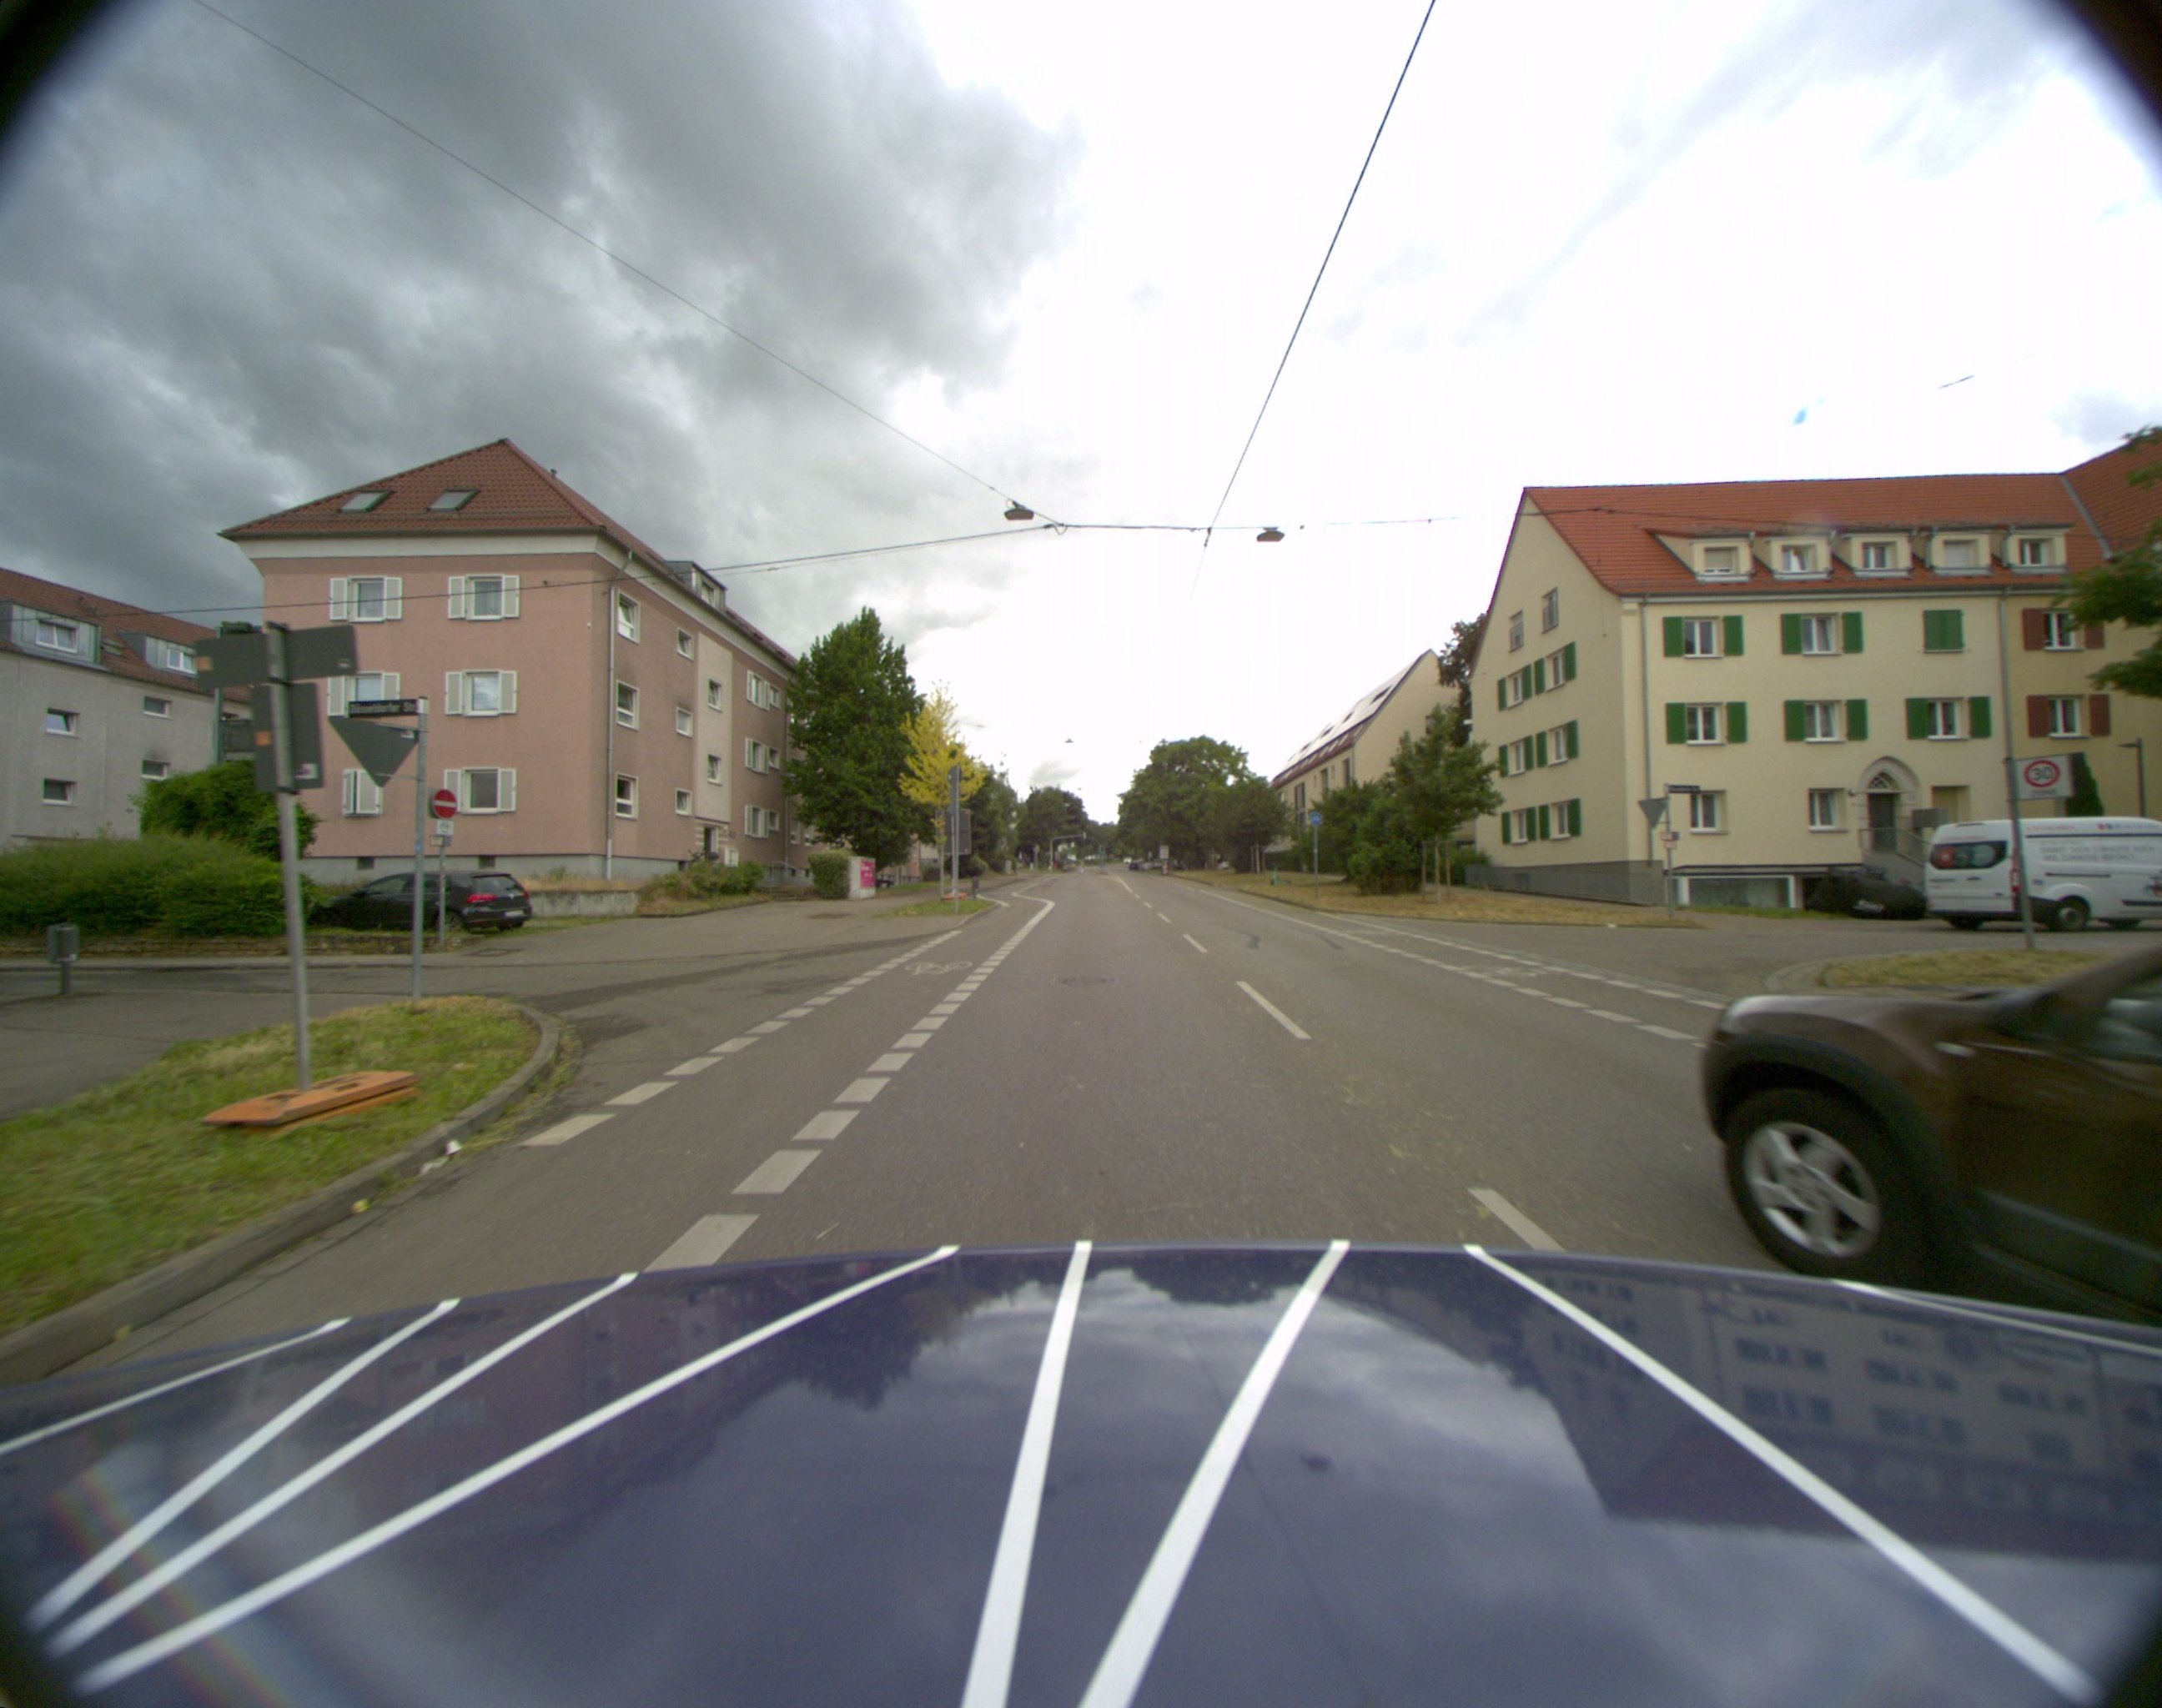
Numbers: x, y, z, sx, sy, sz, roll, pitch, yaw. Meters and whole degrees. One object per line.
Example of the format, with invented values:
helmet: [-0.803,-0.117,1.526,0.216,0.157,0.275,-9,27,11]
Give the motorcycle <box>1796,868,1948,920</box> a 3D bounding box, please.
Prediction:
motorcycle: [20.740,1.035,20.023,2.599,1.271,1.019,-2,0,34]

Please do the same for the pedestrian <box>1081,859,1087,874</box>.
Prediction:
pedestrian: [0.351,1.379,86.628,0.658,1.674,0.575,1,-2,2]

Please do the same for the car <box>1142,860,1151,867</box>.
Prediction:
car: [12.380,1.762,143.330,1.604,1.346,4.001,-1,0,3]

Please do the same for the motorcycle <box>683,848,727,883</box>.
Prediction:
motorcycle: [-13.768,0.407,27.899,0.592,1.220,1.967,-1,0,1]

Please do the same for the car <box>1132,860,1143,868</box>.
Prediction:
car: [11.610,2.029,155.228,1.997,1.674,4.002,-1,0,7]

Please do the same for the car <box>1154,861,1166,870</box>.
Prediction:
car: [14.991,2.145,144.485,1.860,1.596,4.001,-2,0,3]

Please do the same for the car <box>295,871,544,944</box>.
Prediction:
car: [-14.439,1.132,16.734,3.996,1.445,1.688,0,2,1]

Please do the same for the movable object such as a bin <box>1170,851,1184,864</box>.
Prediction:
movable object such as a bin: [14.653,0.587,115.976,1.099,1.892,3.247,-1,0,-13]

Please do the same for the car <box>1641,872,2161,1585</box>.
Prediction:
car: [3.463,0.896,1.291,1.904,1.610,4.362,-1,0,2]

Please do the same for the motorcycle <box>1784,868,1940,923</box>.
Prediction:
motorcycle: [19.682,1.004,19.263,2.598,1.271,1.019,0,0,34]

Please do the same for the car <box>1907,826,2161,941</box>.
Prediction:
car: [20.821,0.574,15.932,4.729,2.240,1.995,-1,0,2]

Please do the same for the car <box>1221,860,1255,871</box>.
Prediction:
car: [20.383,1.462,98.670,4.025,1.455,1.808,0,0,3]

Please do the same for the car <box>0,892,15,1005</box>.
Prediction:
car: [-16.013,1.268,9.163,3.996,1.447,1.760,-1,0,3]

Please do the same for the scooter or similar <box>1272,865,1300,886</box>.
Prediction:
scooter or similar: [11.185,1.166,41.430,1.374,1.080,0.467,0,0,-3]
